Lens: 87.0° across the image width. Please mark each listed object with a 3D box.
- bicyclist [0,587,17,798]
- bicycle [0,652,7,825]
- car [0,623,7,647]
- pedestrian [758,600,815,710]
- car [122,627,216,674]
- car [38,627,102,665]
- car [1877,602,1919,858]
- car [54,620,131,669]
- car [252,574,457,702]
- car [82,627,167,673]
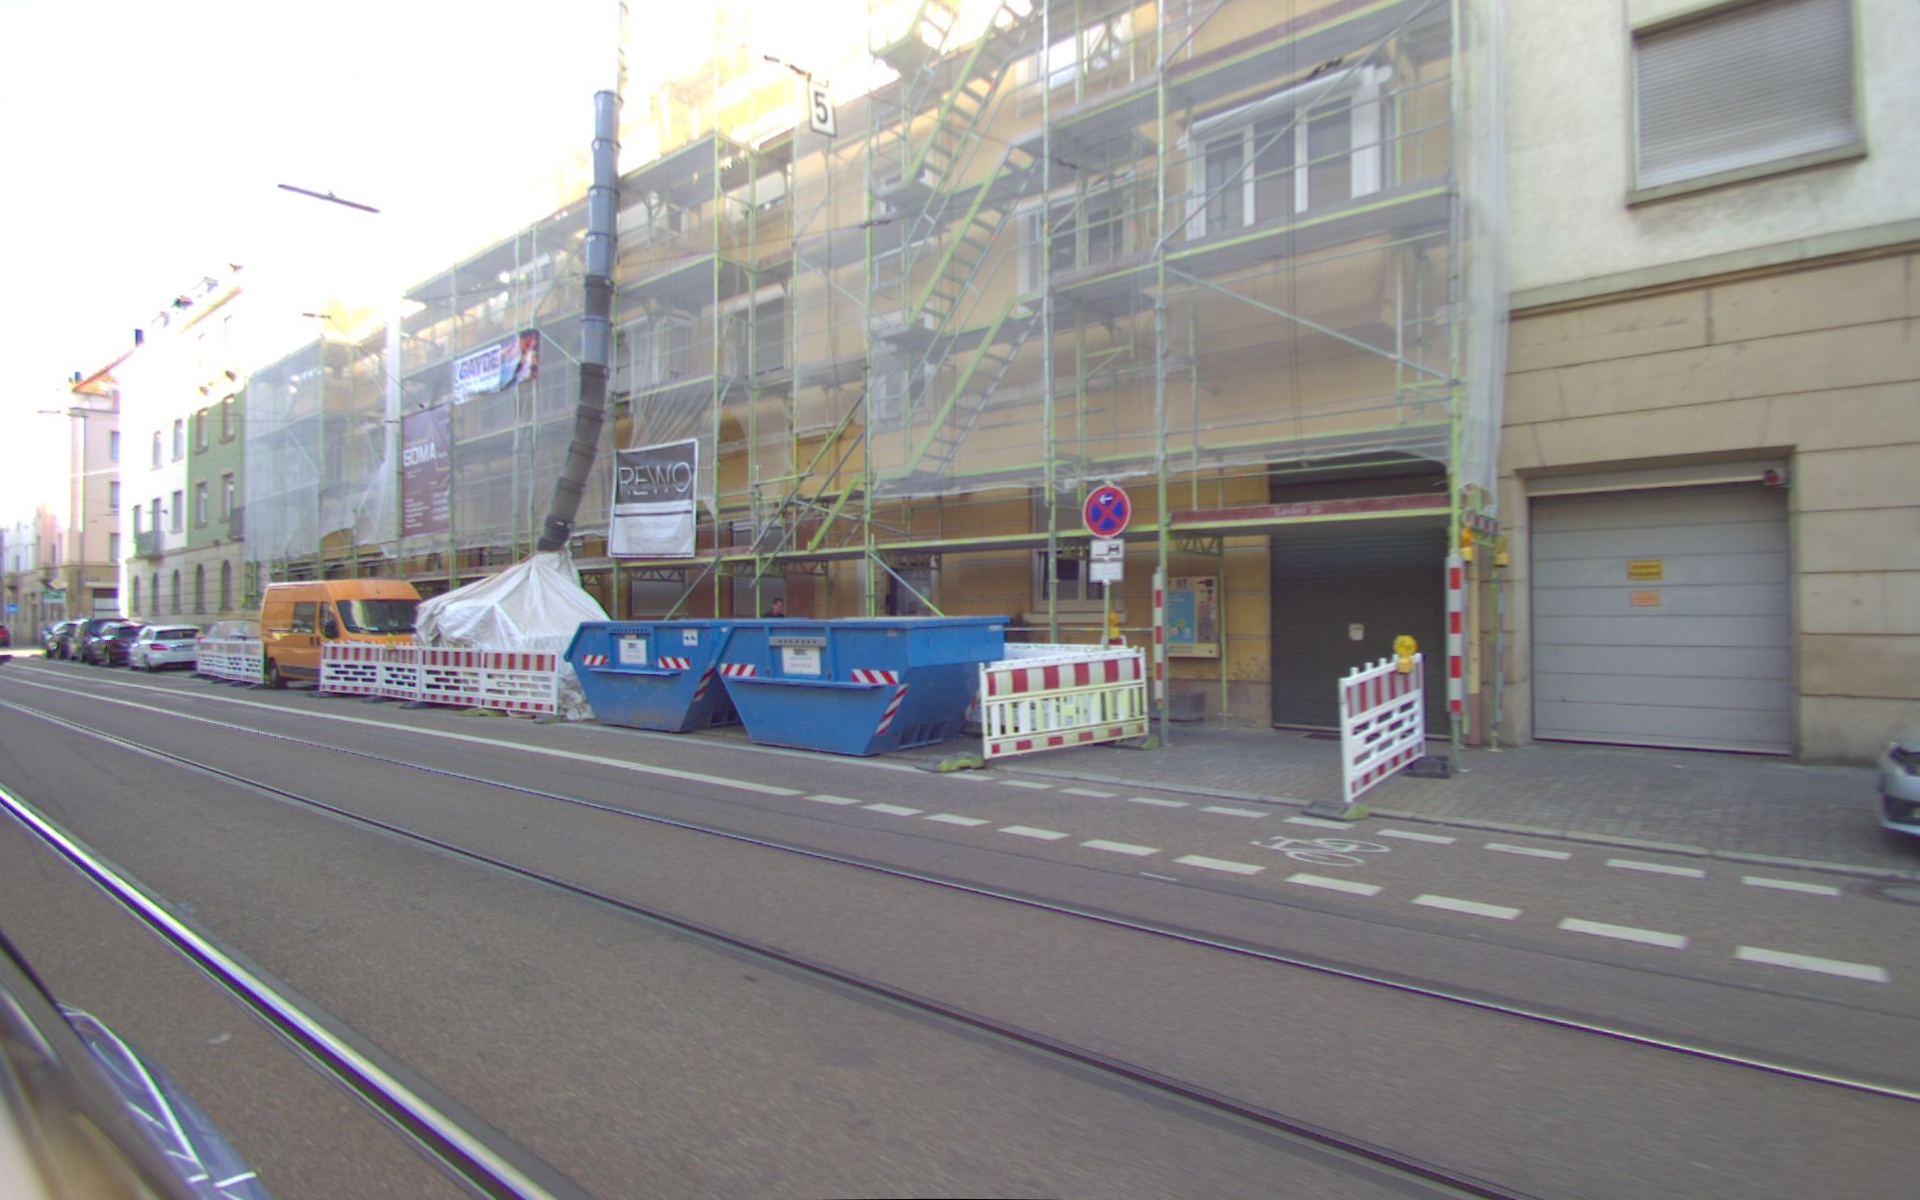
[{"bbox_3d":[-7.679,0.693,7.608,0.831,1.566,0.851,1,-2,-43],"label":"bicyclist"},{"bbox_3d":[-7.676,1.006,7.596,0.729,1.186,1.976,1,-2,-43],"label":"bicycle"},{"bbox_3d":[-62.845,2.297,65.057,3.765,1.514,1.776,-2,0,39],"label":"car"},{"bbox_3d":[-2.767,0.859,16.148,0.716,1.707,0.574,-2,-2,40],"label":"pedestrian"},{"bbox_3d":[-26.886,1.678,34.363,3.997,1.523,1.728,-2,-3,41],"label":"car"},{"bbox_3d":[-39.828,2.044,45.266,3.769,1.622,1.774,-2,-2,43],"label":"car"},{"bbox_3d":[7.570,0.745,5.319,3.998,1.426,1.682,-1,2,41],"label":"car"},{"bbox_3d":[-36.038,1.813,42.014,3.765,1.860,1.776,-2,0,39],"label":"car"},{"bbox_3d":[-13.562,0.827,22.465,5.996,2.488,2.098,-2,-3,41],"label":"car"},{"bbox_3d":[-31.513,1.842,38.135,4.219,1.590,1.681,-2,0,39],"label":"car"}]
